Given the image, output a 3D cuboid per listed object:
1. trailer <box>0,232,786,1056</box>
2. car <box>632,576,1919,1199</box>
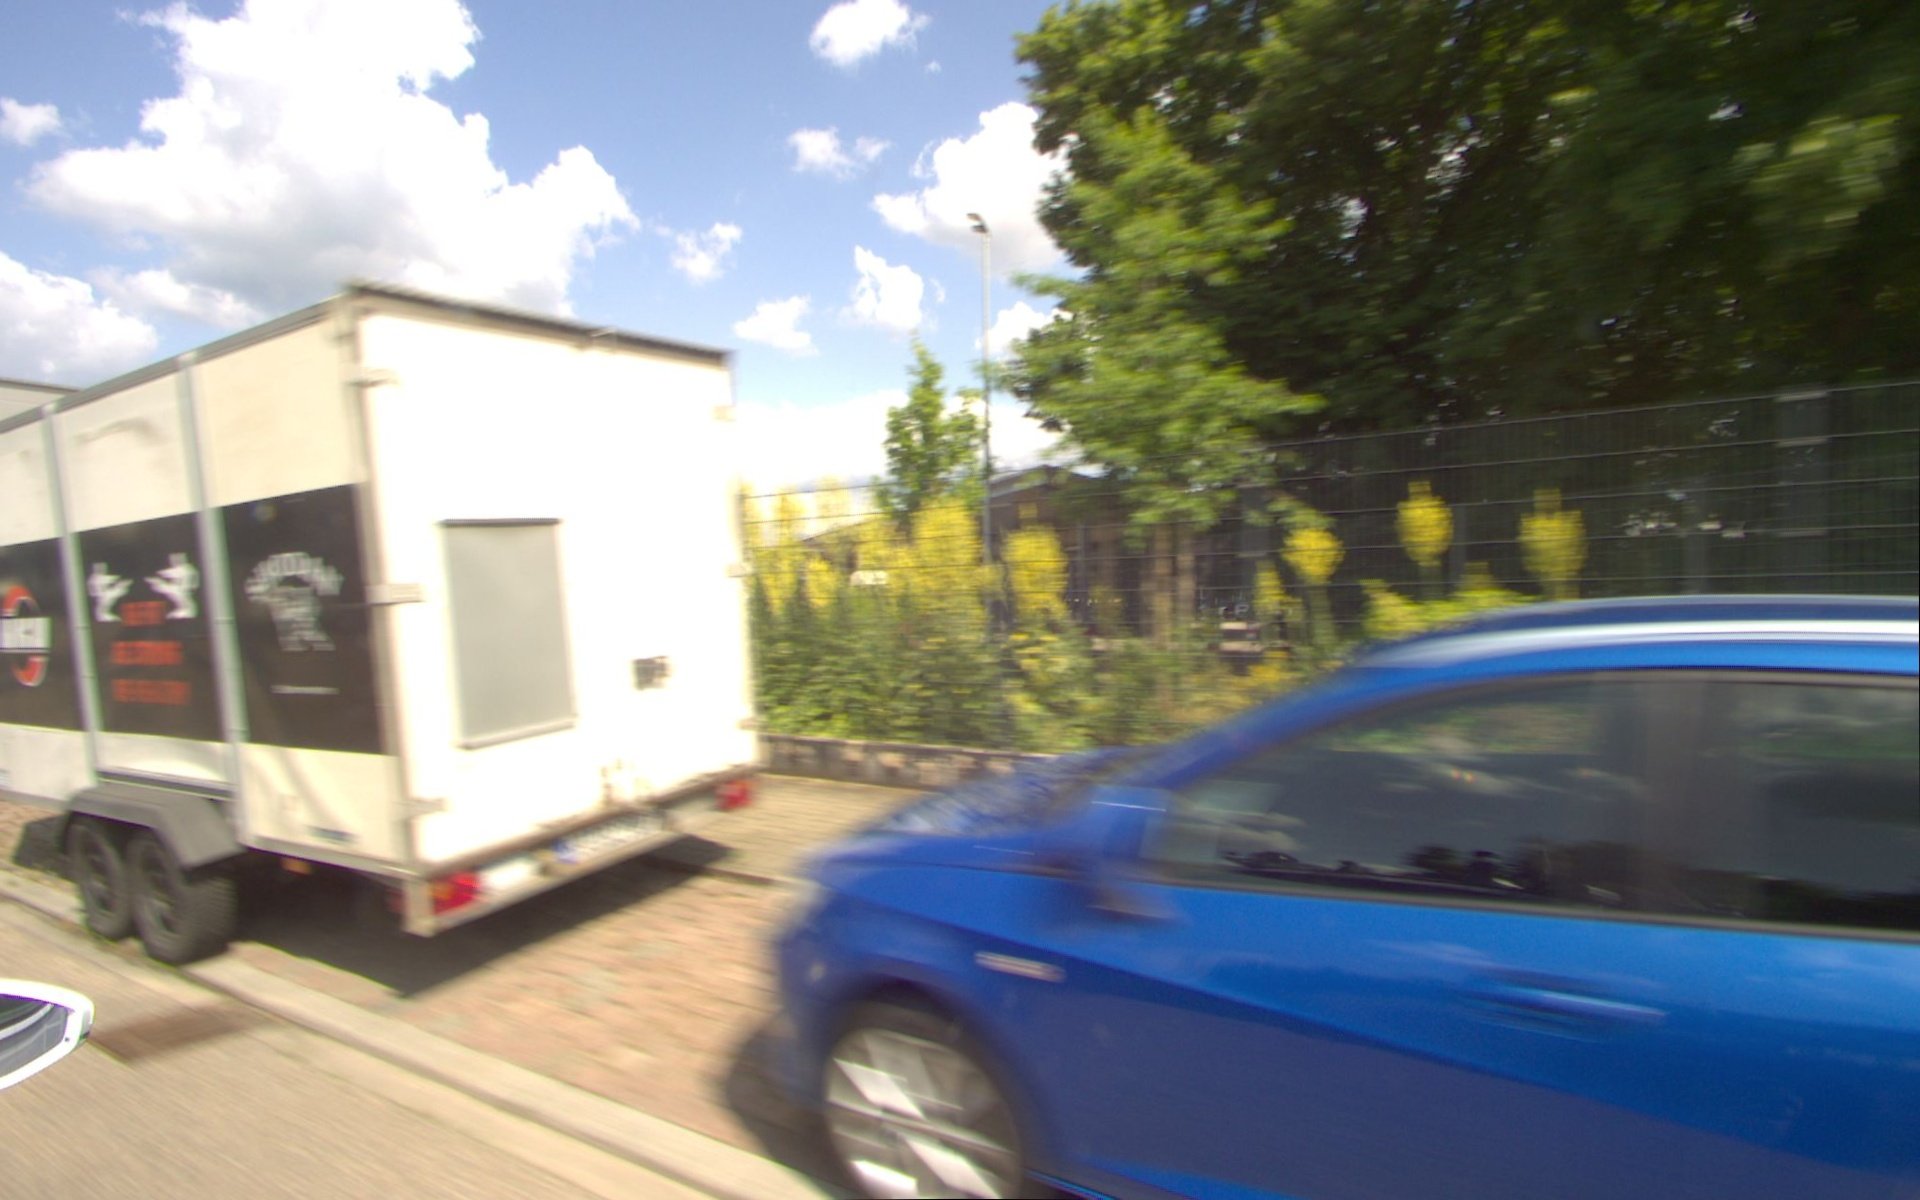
[{"bbox_3d":[-4.139,0.186,5.932,6.133,2.774,2.199,-1,2,32],"label":"trailer"},{"bbox_3d":[1.292,0.729,2.355,4.012,1.480,1.686,-1,2,32],"label":"car"}]
